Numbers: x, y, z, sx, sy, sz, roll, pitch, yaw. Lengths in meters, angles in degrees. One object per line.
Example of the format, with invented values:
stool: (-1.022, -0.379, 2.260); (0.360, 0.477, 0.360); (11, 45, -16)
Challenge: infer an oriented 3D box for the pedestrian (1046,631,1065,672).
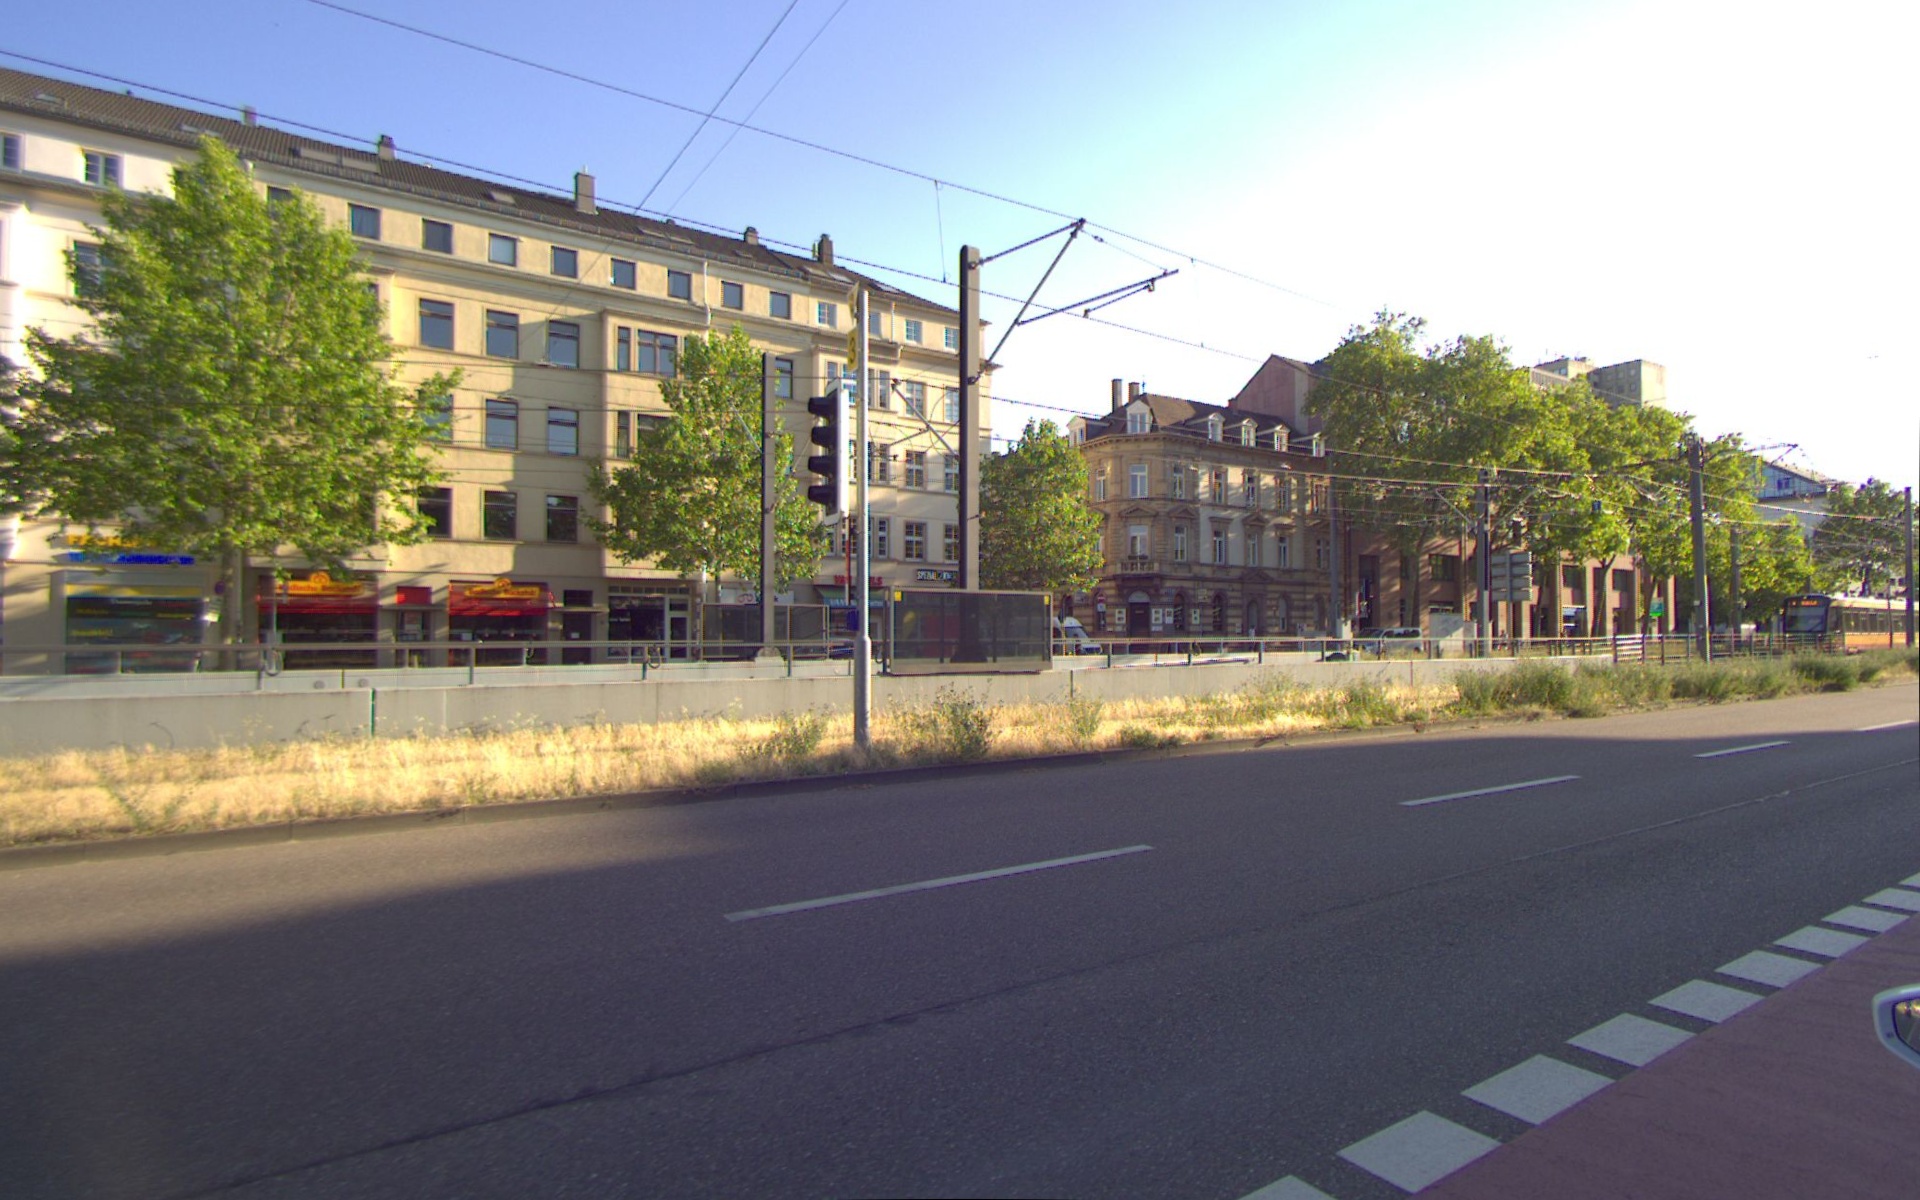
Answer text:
pedestrian: (4.630, 2.488, 48.744); (0.628, 1.944, 0.579); (2, 0, -40)

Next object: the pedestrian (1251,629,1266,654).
pedestrian: (19.363, 2.691, 65.188); (0.684, 1.583, 0.699); (1, -2, -36)

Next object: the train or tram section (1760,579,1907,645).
train or tram section: (53.592, 0.873, 61.297); (17.311, 3.605, 3.091); (2, -3, -36)

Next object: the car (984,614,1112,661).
car: (4.464, 1.969, 52.610); (2.449, 2.296, 7.212); (1, -3, -38)

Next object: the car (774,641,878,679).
car: (-5.127, 2.283, 38.612); (3.670, 1.350, 1.446); (2, -1, -33)

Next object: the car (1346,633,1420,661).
car: (25.014, 2.762, 59.364); (4.685, 1.605, 1.750); (1, -3, -34)

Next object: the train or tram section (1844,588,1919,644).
train or tram section: (68.474, 1.289, 72.363); (19.743, 3.605, 3.091); (2, -3, -37)

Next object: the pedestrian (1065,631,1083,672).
pedestrian: (5.594, 2.520, 49.194); (0.579, 1.944, 0.627); (2, 0, -32)
